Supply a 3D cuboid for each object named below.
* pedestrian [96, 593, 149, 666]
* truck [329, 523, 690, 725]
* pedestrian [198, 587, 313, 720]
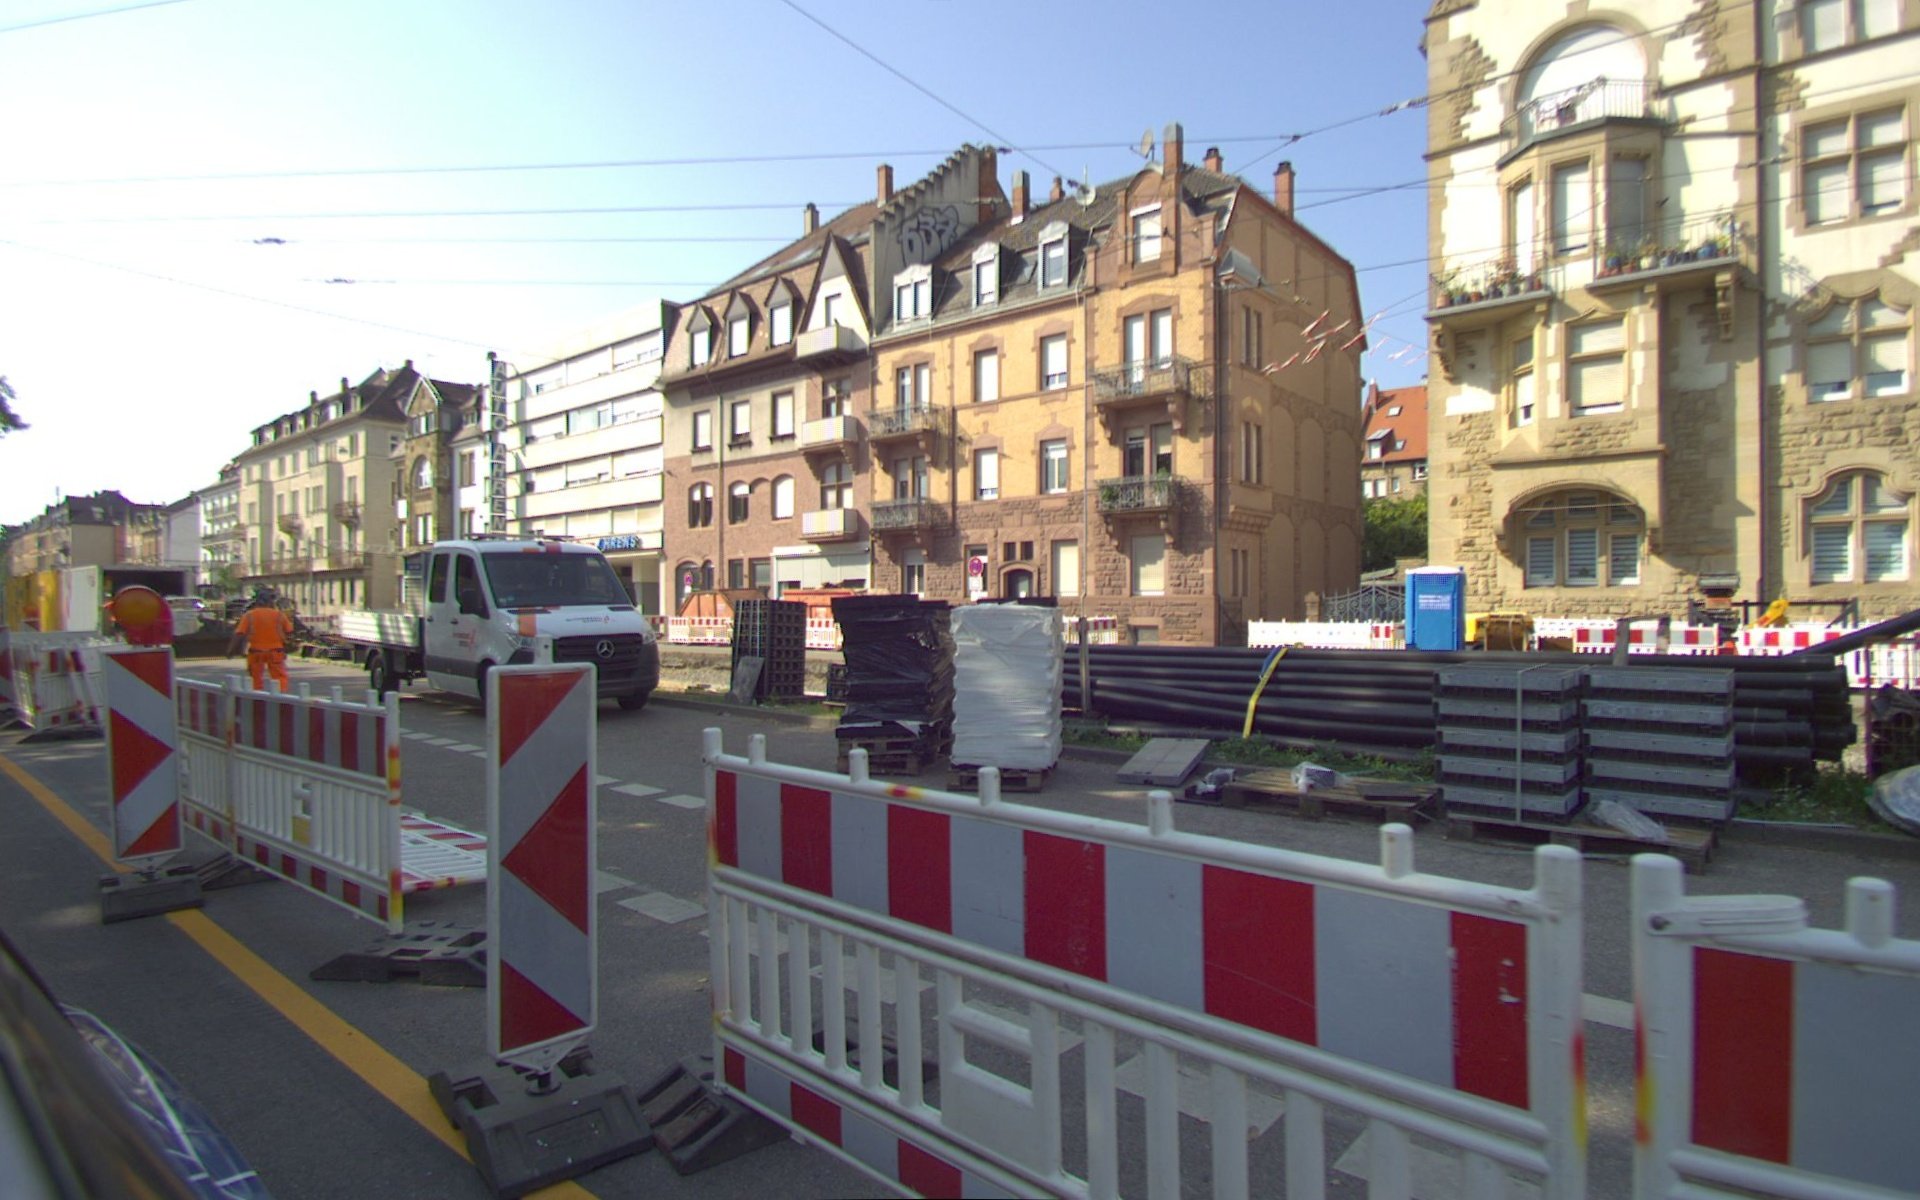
[{"bbox_3d":[-24.020,0.821,29.049,0.896,2.029,0.915,-1,1,-23],"label":"pedestrian"},{"bbox_3d":[-6.710,0.327,14.421,7.051,2.239,2.134,-1,-2,43],"label":"truck"},{"bbox_3d":[-9.619,0.705,13.825,1.094,1.723,1.021,-1,-2,40],"label":"pedestrian"}]
